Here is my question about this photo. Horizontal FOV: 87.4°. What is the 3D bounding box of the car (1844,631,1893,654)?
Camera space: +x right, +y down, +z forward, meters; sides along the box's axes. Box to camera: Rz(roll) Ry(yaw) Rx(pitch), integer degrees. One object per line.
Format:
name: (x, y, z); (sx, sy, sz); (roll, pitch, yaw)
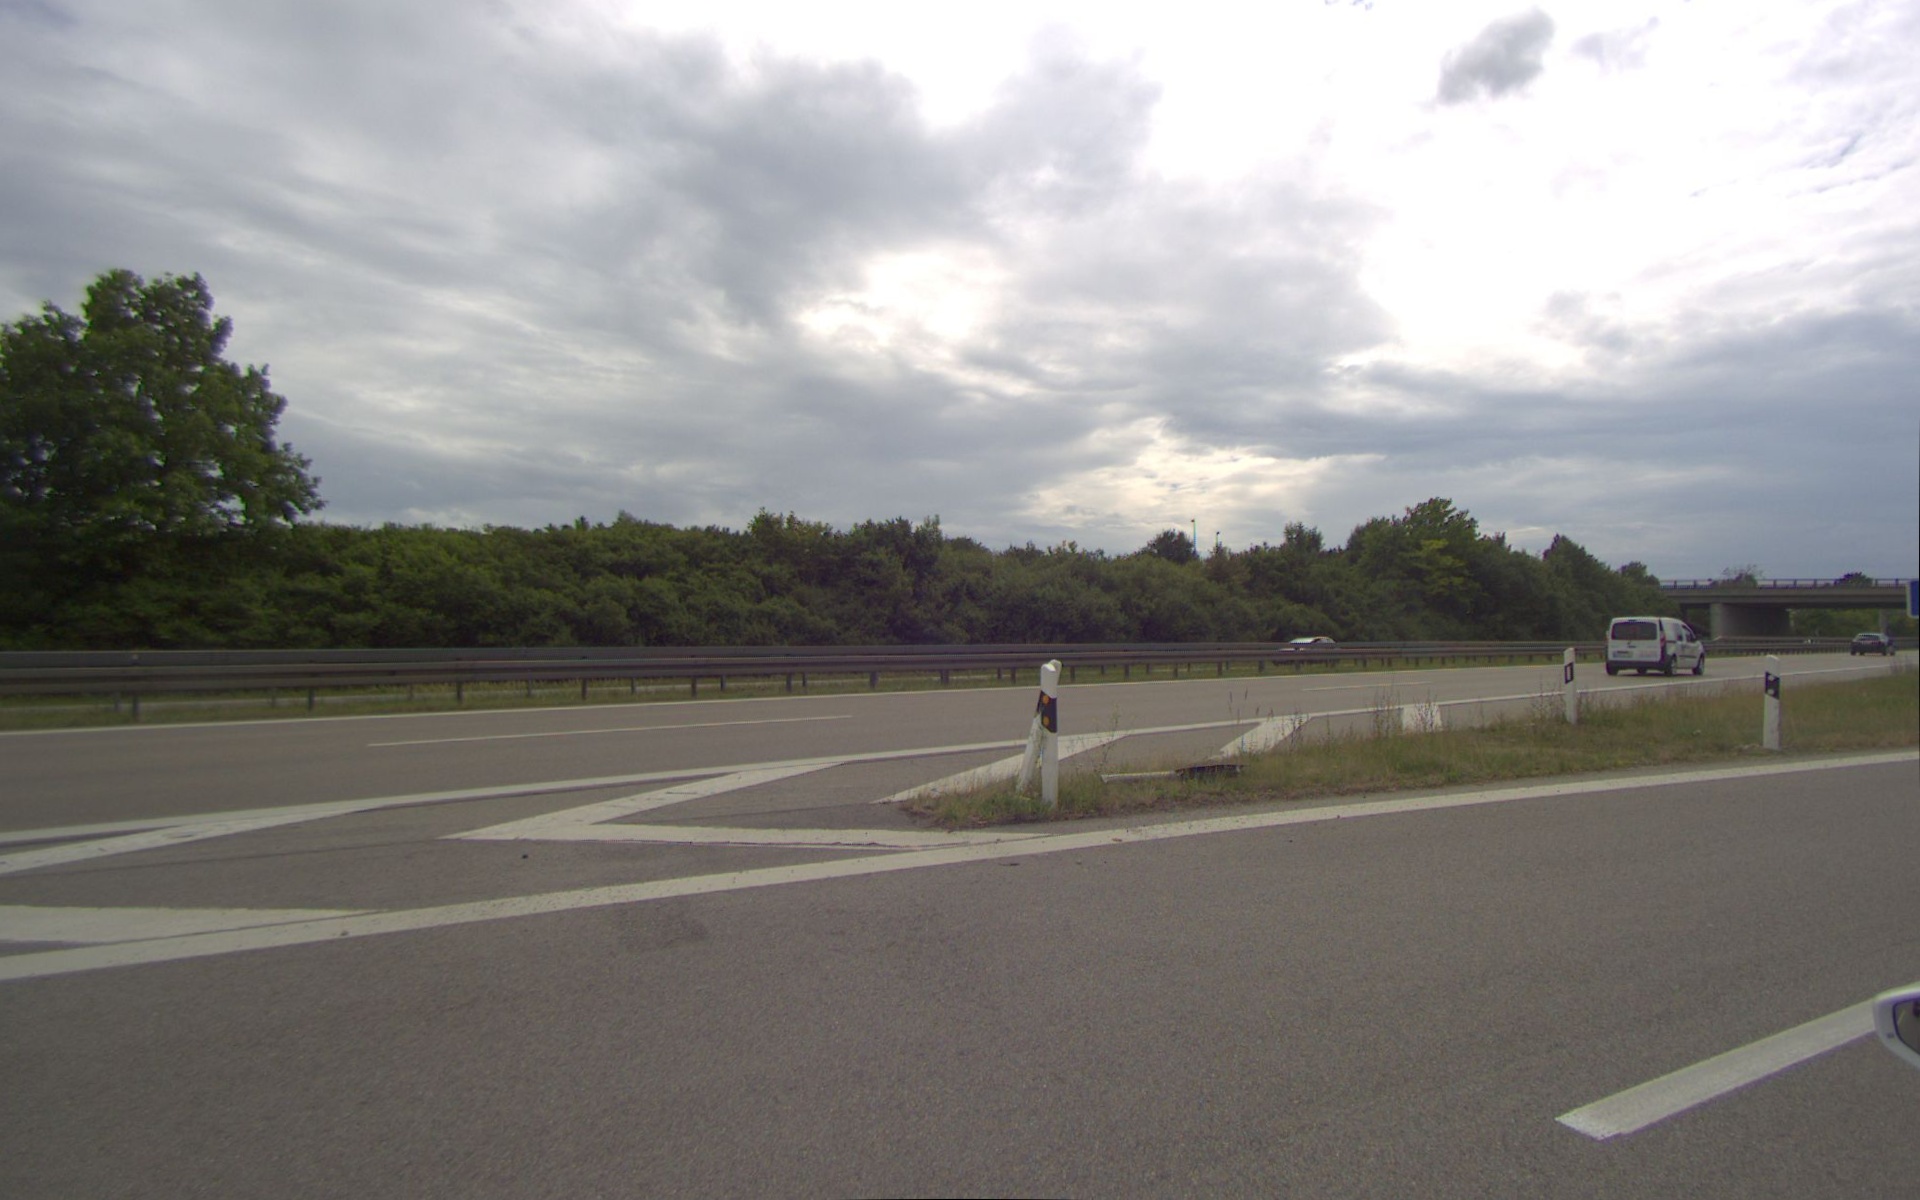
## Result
car: (61.046, 2.835, 67.464); (4.756, 1.442, 1.708); (2, -2, -39)

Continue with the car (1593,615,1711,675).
car: (21.969, 1.406, 31.831); (4.447, 1.774, 1.862); (2, -2, -38)

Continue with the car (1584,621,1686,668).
car: (27.884, 1.792, 41.409); (5.365, 1.809, 1.978); (2, -2, -39)
